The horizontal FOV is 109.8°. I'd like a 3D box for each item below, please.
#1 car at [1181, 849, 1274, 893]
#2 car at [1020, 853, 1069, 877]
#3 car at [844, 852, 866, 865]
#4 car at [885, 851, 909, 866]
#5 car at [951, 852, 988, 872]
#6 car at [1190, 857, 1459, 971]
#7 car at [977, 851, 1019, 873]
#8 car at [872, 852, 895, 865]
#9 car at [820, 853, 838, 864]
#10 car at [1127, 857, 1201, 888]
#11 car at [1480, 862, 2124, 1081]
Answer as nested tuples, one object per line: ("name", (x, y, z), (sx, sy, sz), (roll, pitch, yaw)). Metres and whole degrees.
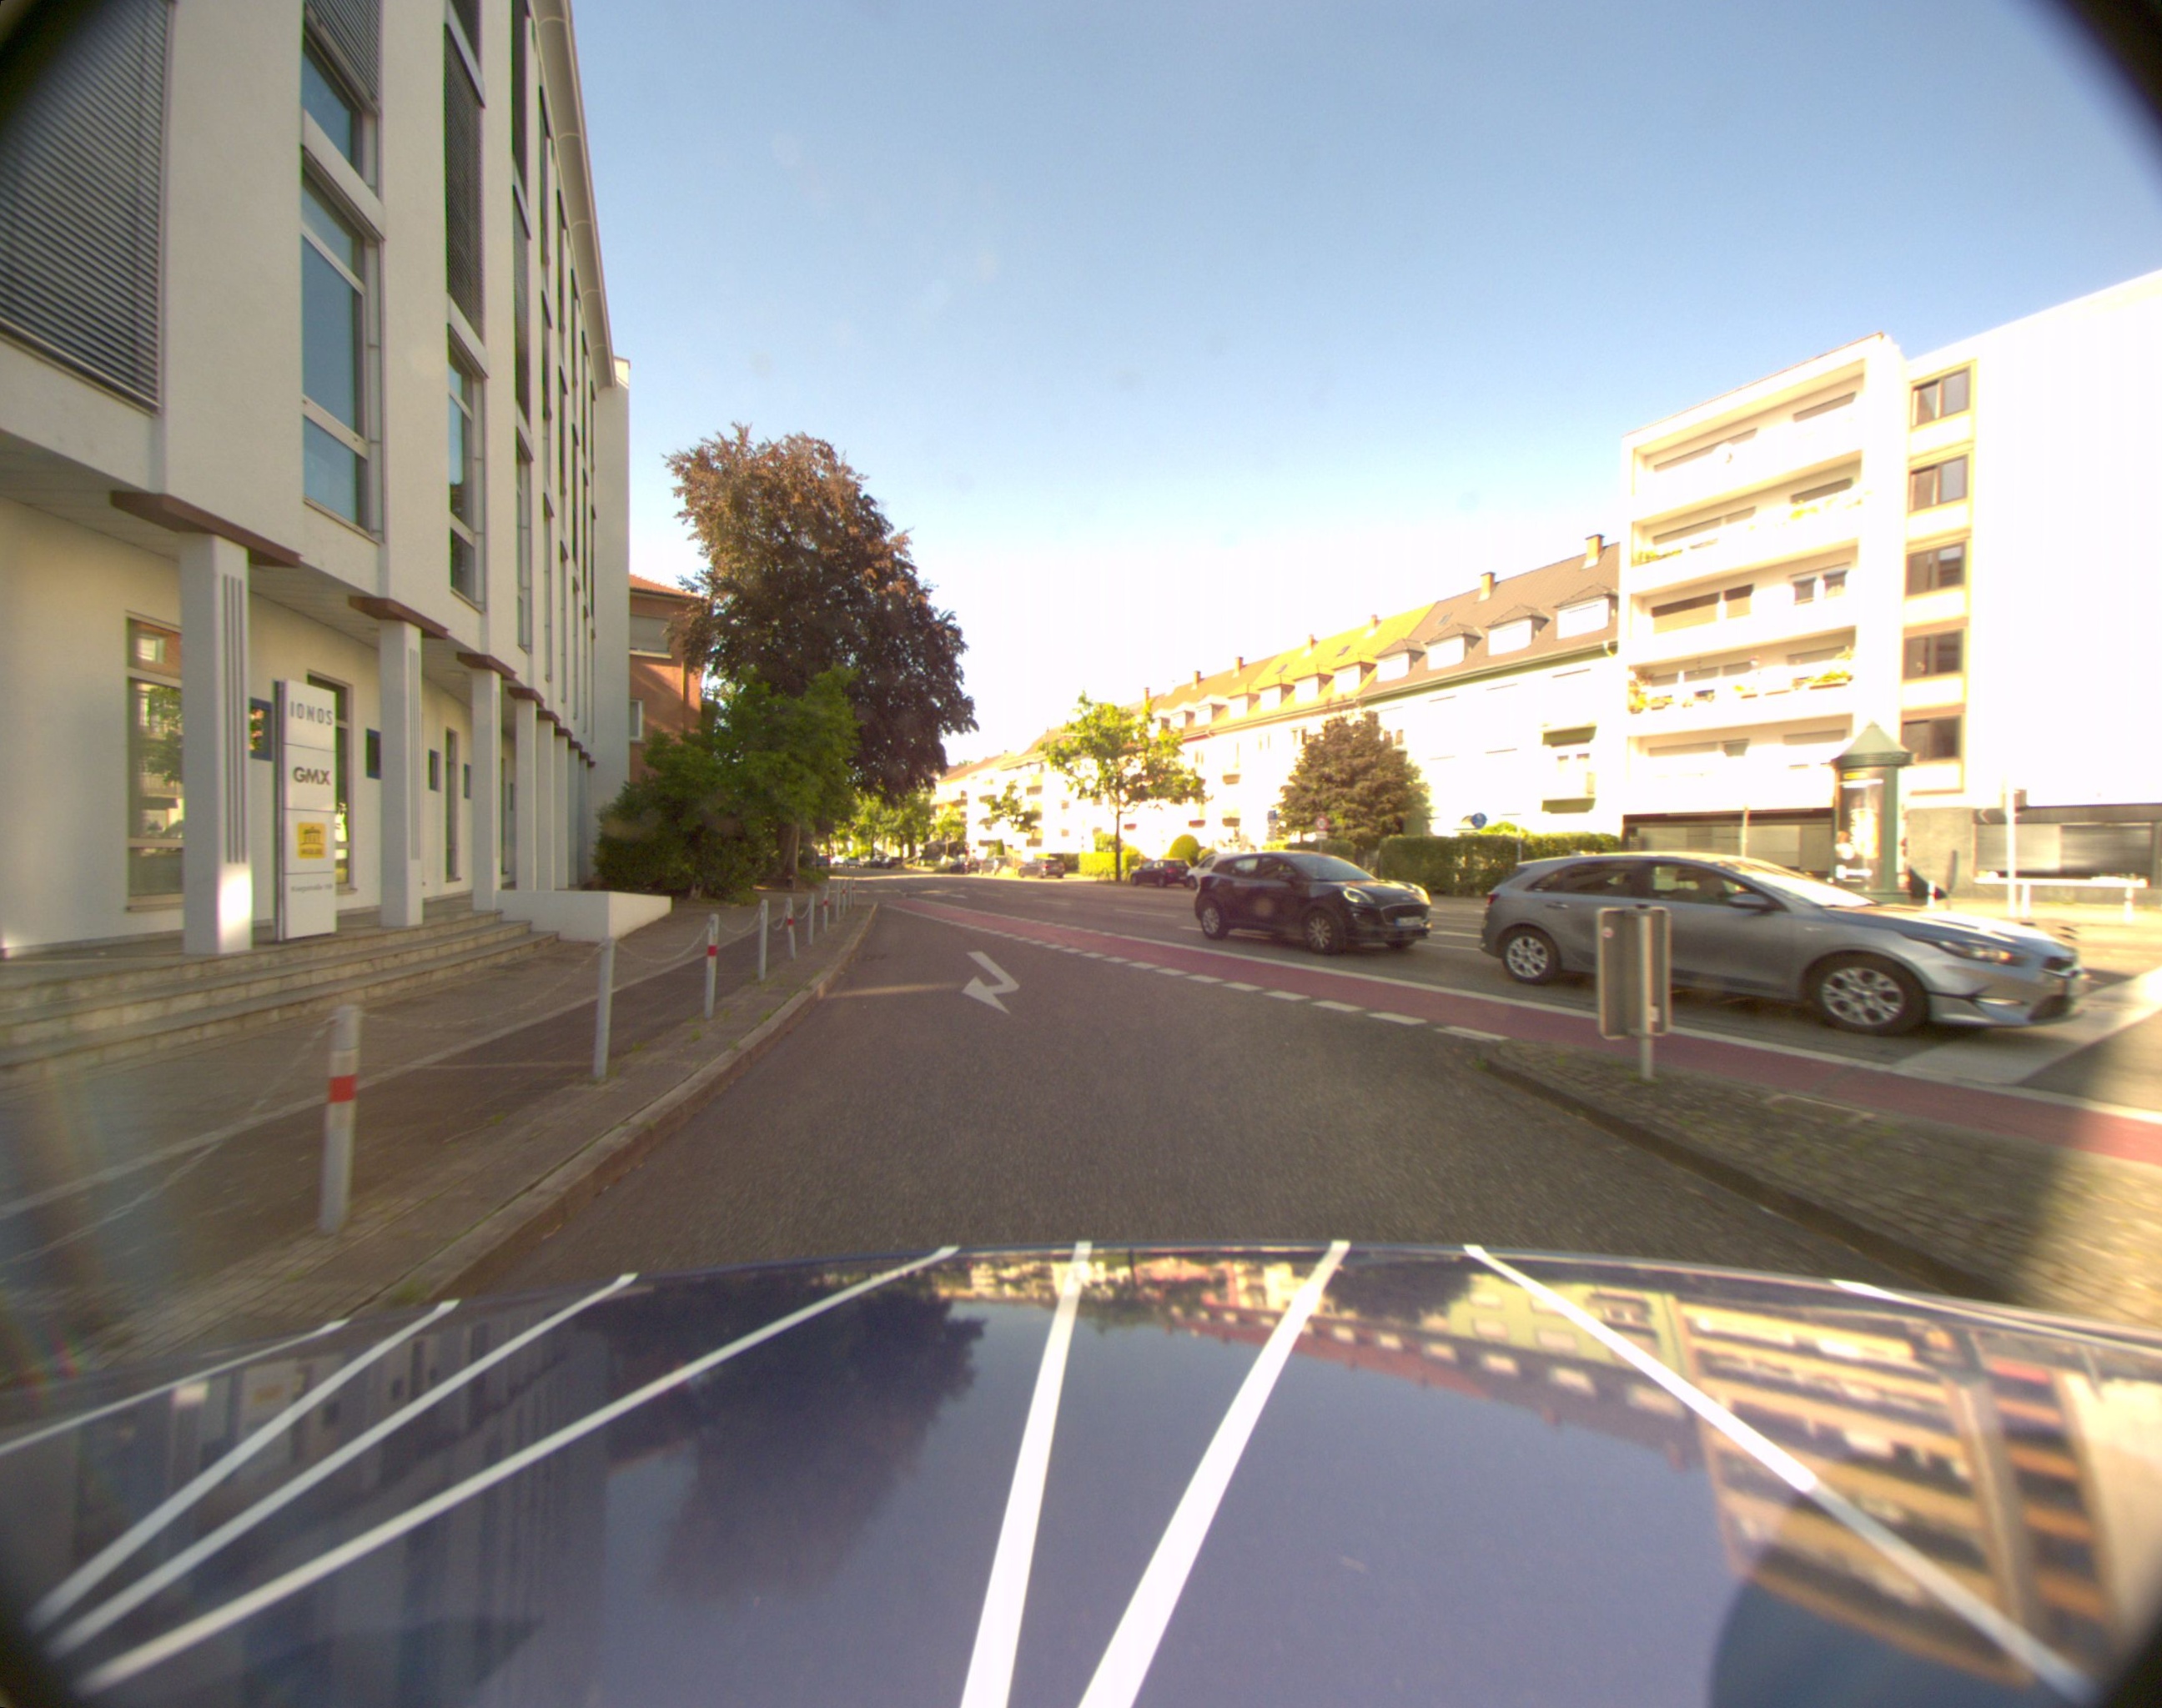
("car", (6.716, 0.754, 35.270), (1.808, 1.847, 4.157), (-3, 1, -32))
("car", (-2.570, 0.744, 52.414), (1.807, 1.449, 3.996), (-3, 1, -28))
("car", (-28.219, 0.573, 94.839), (1.808, 1.552, 4.157), (0, 0, -28))
("car", (-21.379, 0.525, 88.206), (1.807, 1.552, 3.915), (-3, 1, -28))
("car", (-9.722, 0.702, 65.862), (1.807, 1.552, 4.158), (-3, 1, -28))
("car", (3.662, 0.804, 12.194), (1.699, 1.483, 4.066), (-1, 0, -28))
("car", (-6.673, 0.626, 60.787), (1.807, 1.552, 4.158), (-3, 1, -28))
("car", (-24.240, 0.528, 93.367), (1.807, 1.552, 3.915), (-3, 1, -28))
("car", (-37.751, 0.653, 113.810), (1.807, 1.552, 4.158), (-3, 1, -28))
("car", (4.266, 0.916, 39.703), (1.807, 1.421, 4.041), (-3, 1, -28))
("car", (6.286, 0.799, 7.225), (1.887, 1.400, 4.048), (-1, 0, -28))
